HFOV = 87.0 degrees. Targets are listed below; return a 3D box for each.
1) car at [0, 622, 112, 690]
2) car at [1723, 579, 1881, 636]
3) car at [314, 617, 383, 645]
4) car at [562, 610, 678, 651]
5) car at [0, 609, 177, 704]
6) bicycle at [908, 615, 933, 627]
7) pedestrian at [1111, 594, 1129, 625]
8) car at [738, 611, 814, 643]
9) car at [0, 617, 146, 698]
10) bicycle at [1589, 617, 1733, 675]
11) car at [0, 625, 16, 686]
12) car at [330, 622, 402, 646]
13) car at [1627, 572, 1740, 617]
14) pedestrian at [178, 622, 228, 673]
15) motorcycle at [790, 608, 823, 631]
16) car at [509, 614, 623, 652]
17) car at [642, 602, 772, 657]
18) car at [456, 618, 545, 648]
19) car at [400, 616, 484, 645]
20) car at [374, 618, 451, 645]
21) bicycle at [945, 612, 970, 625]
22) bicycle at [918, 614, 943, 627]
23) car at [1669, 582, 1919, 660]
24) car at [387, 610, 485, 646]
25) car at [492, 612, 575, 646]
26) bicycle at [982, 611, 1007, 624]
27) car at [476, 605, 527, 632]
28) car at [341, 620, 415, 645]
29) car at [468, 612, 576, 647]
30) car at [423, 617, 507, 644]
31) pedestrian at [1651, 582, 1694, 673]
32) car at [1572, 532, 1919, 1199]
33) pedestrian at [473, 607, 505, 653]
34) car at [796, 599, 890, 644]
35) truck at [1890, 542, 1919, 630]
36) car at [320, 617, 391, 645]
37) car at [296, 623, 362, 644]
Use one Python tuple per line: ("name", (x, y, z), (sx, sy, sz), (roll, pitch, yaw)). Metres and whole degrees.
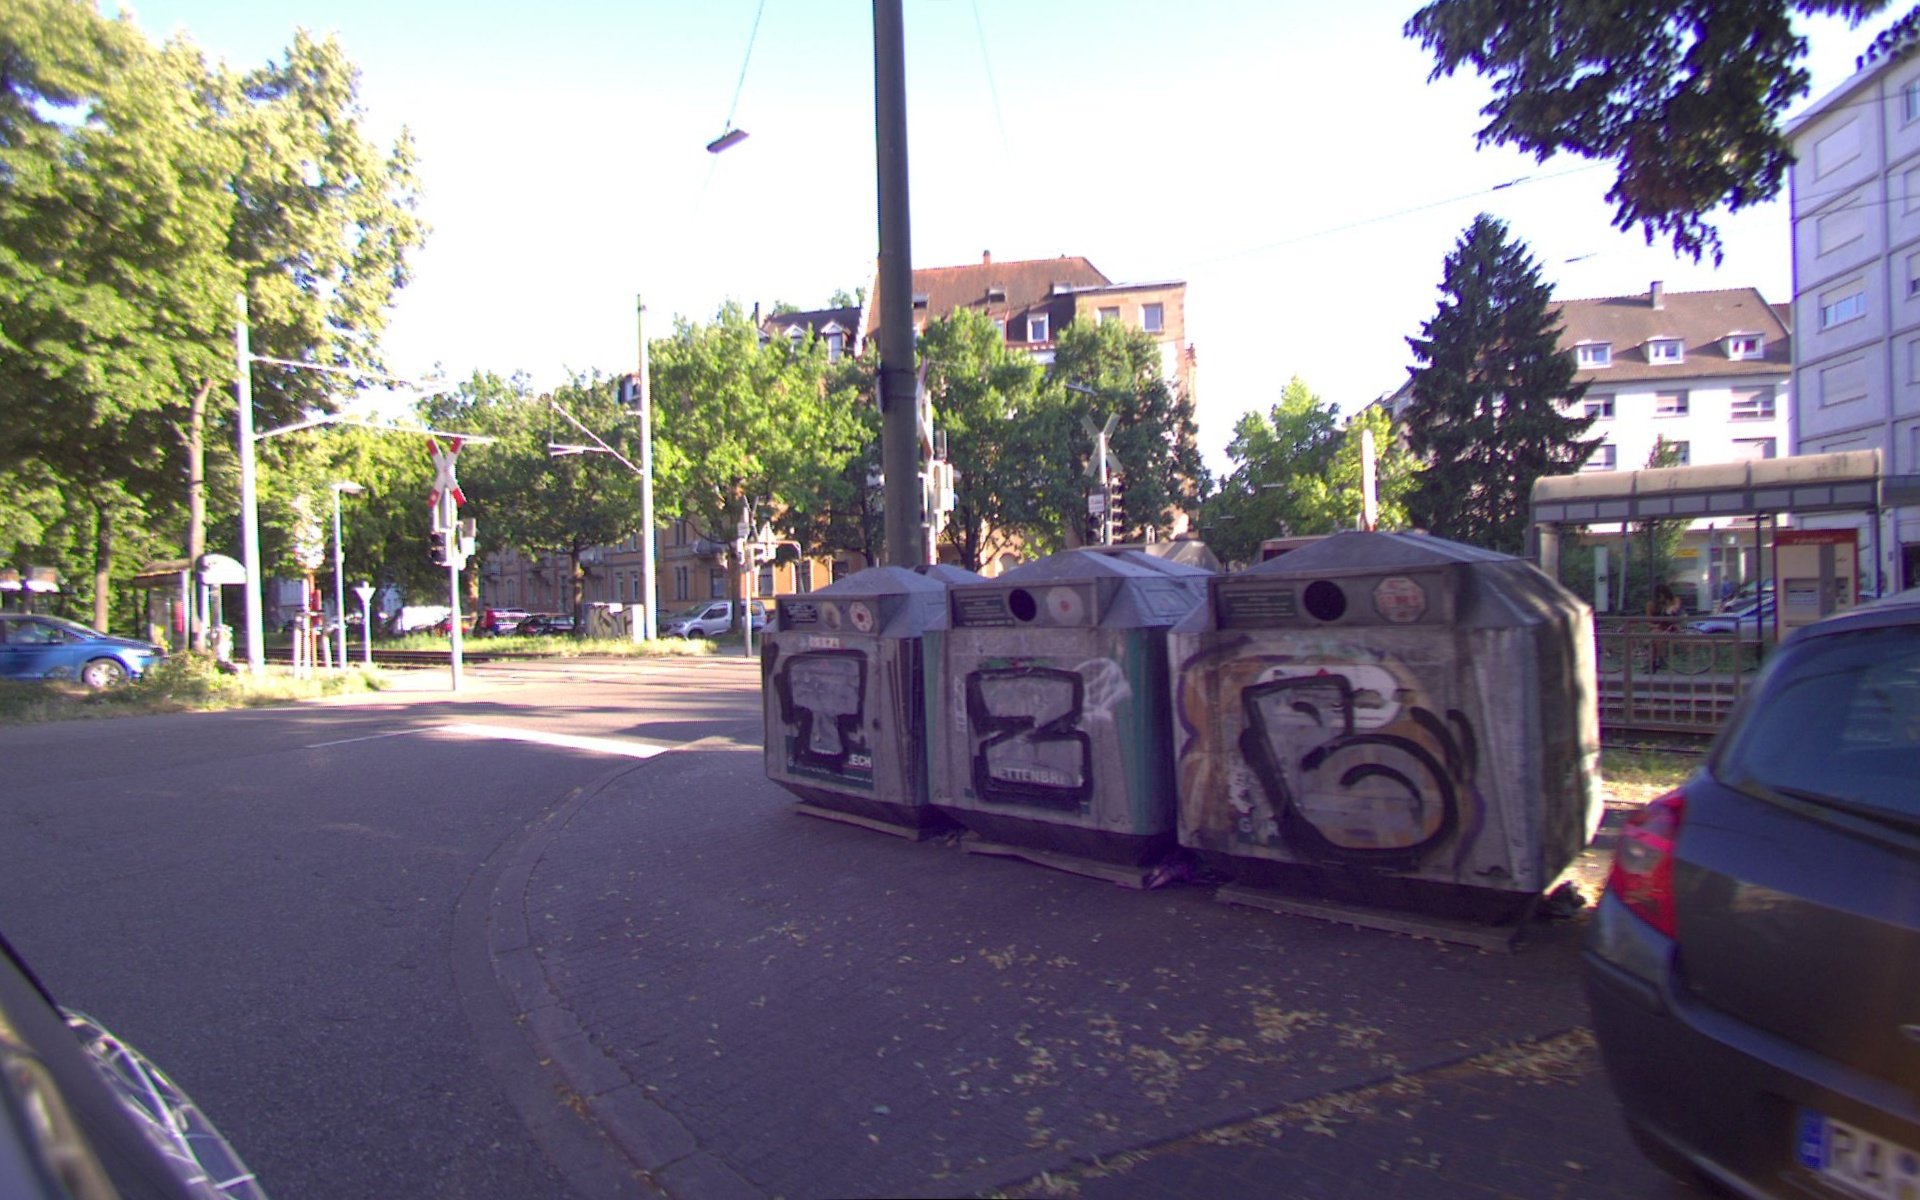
("car", (-22.856, 1.313, 23.522), (4.473, 1.498, 1.936), (-1, -1, -24))
("car", (24.821, 0.201, 30.038), (1.980, 1.544, 3.983), (-2, 0, 13))
("car", (-43.563, 2.201, 72.123), (1.685, 1.846, 3.942), (-2, -1, 44))
("car", (-15.009, 1.308, 44.807), (4.485, 1.584, 1.952), (-1, 0, -44))
("car", (-18.445, 1.135, 20.034), (4.343, 1.700, 1.748), (-3, 0, -27))
("bicycle", (-2.403, 1.278, 61.849), (1.493, 0.738, 0.368), (-2, 0, 9))
("pedestrian", (8.977, 0.543, 56.711), (0.903, 1.731, 0.672), (-1, -1, 14))
("car", (-9.542, 1.401, 52.311), (1.755, 1.444, 4.274), (-4, 1, -43))
("car", (-20.702, 1.242, 21.880), (4.473, 1.647, 1.936), (-1, -1, -24))
("bicycle", (10.059, 0.652, 14.572), (1.643, 0.789, 0.444), (-2, 0, 43))
("car", (-29.394, 1.600, 27.970), (4.476, 1.735, 1.935), (-1, -1, -15))
("car", (-40.357, 2.300, 68.781), (1.685, 1.500, 3.942), (-2, -1, 44))
("car", (26.632, -0.185, 37.427), (1.980, 1.544, 3.983), (-2, 0, 13))
("pedestrian", (-19.787, 1.229, 26.450), (0.875, 1.282, 0.814), (-2, 0, 37))
("motorcycle", (-9.581, 1.227, 63.137), (1.877, 1.363, 0.808), (-2, -1, 9))
("car", (-18.563, 1.502, 47.817), (4.645, 1.584, 2.002), (-1, 0, -44))
("car", (-9.750, 1.071, 39.172), (4.485, 1.929, 1.952), (-1, 0, -44))
("car", (-24.205, 1.727, 53.428), (1.685, 1.472, 3.942), (-2, -1, 44))
("car", (-29.762, 1.740, 58.262), (1.765, 1.592, 3.944), (-2, -1, 42))
("car", (-34.372, 1.985, 63.617), (1.685, 1.565, 3.942), (-2, -1, 44))
("bicycle", (-0.164, 1.137, 61.473), (1.493, 0.738, 0.368), (-2, 0, 9))
("bicycle", (-1.797, 1.258, 61.357), (1.493, 0.738, 0.368), (-2, 0, 9))
("car", (17.060, 0.443, 20.746), (3.997, 1.457, 1.693), (-2, -2, 40))
("car", (-31.301, 1.638, 60.536), (2.156, 2.053, 4.789), (-2, -1, 44))
("car", (-20.793, 1.399, 49.372), (3.358, 1.526, 1.720), (-1, -1, -44))
("bicycle", (2.090, 1.075, 61.314), (1.493, 0.738, 0.368), (-2, 0, 9))
("car", (-35.024, 1.446, 77.271), (4.727, 1.897, 1.886), (-2, 1, 44))
("car", (-38.410, 2.143, 66.803), (1.685, 1.500, 3.942), (-2, -1, 44))
("car", (-22.255, 1.451, 51.560), (4.645, 1.584, 2.002), (-1, 0, -44))
("car", (-27.815, 1.702, 56.969), (1.685, 1.434, 3.942), (-2, -1, 44))
("pedestrian", (10.429, 0.395, 14.816), (0.452, 1.311, 0.333), (-2, -1, 42))
("car", (3.328, 0.544, 2.073), (3.672, 1.532, 1.613), (-4, 1, -22))
("pedestrian", (-20.551, 1.306, 44.124), (1.150, 1.933, 0.892), (-2, -1, 45))
("car", (-5.613, 1.035, 48.269), (4.773, 1.948, 1.757), (-2, 1, 44))
("truck", (28.358, -0.423, 27.575), (1.978, 2.554, 4.957), (-1, 0, 10))
("car", (-41.965, 2.159, 70.285), (1.685, 1.846, 3.942), (-2, -1, 44))
("car", (-47.373, 2.486, 76.021), (1.685, 1.500, 3.942), (-2, -1, 44))
